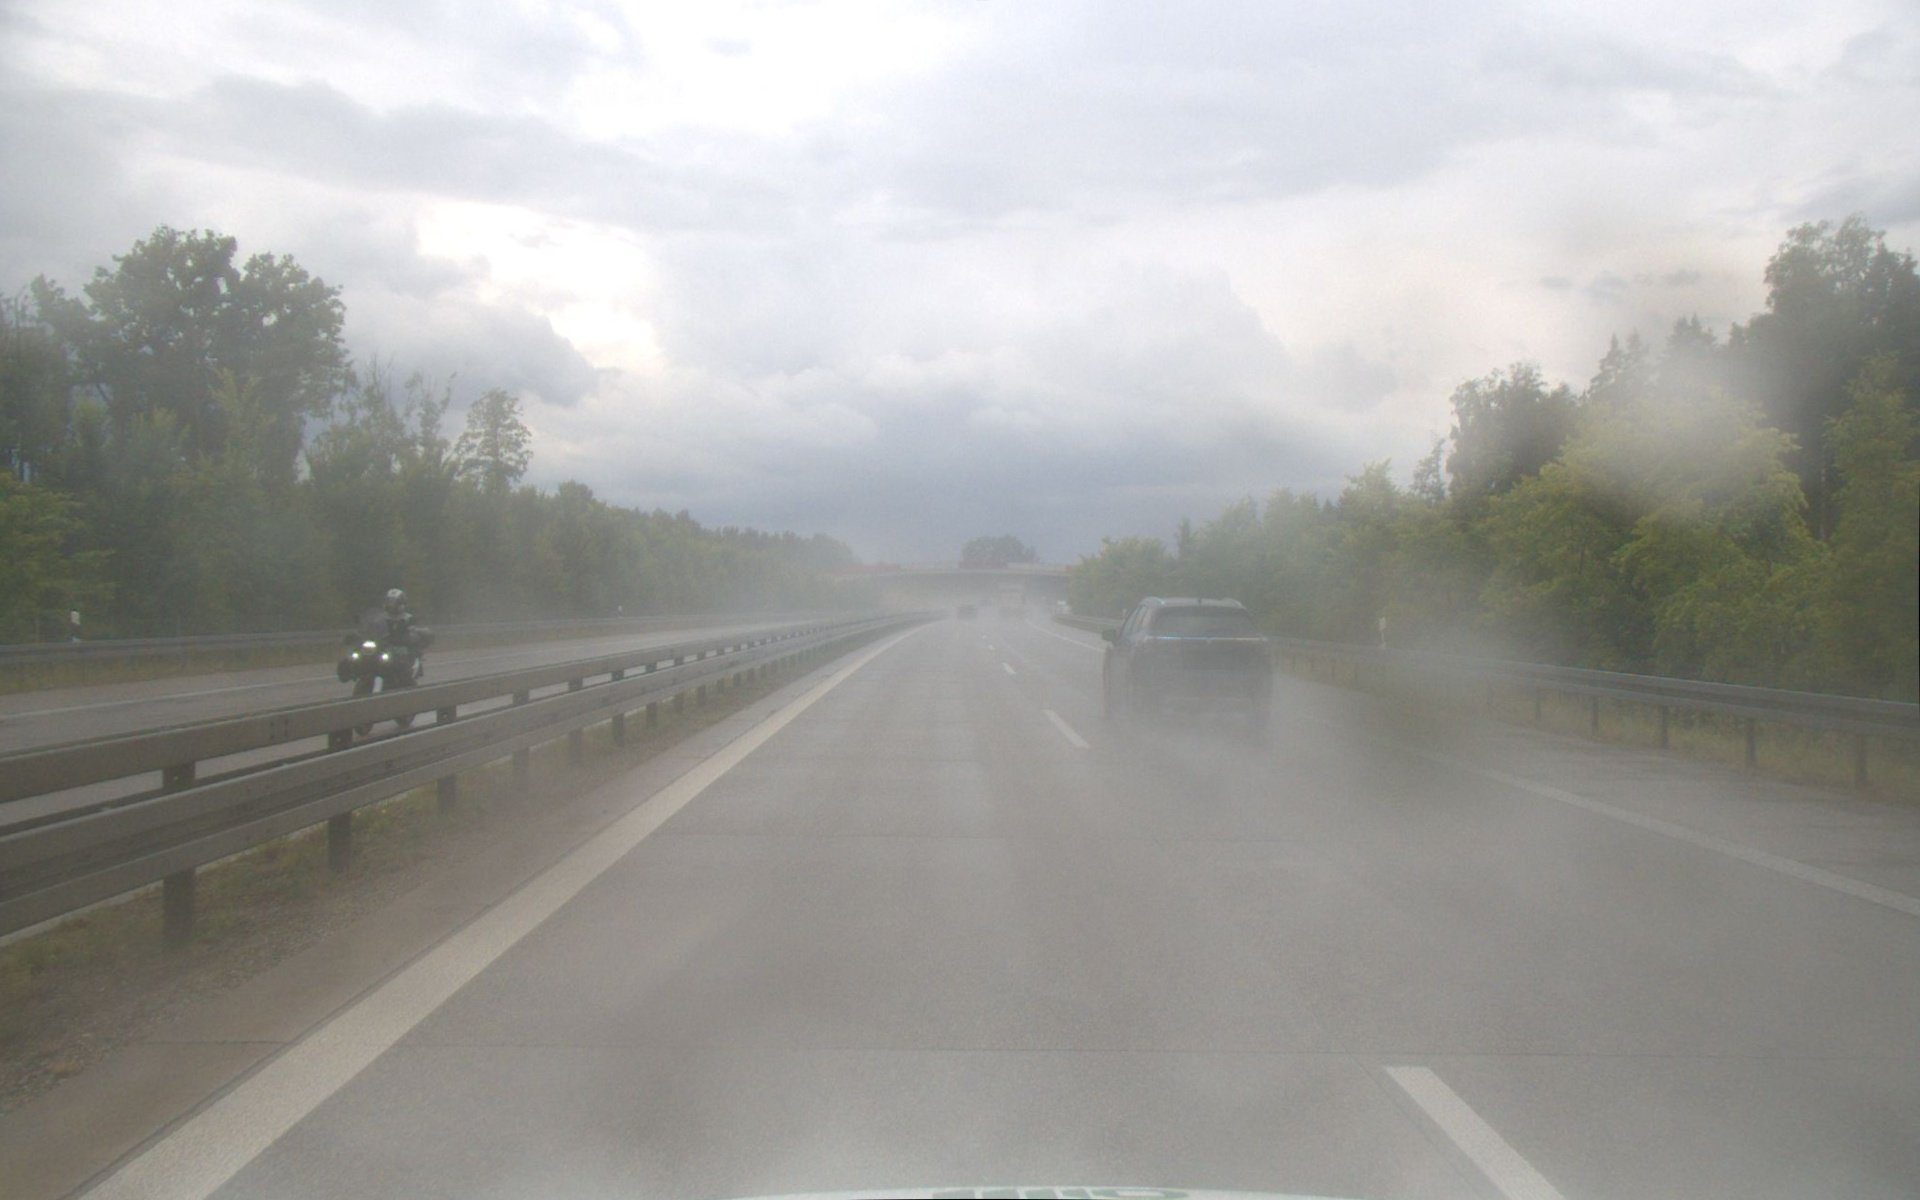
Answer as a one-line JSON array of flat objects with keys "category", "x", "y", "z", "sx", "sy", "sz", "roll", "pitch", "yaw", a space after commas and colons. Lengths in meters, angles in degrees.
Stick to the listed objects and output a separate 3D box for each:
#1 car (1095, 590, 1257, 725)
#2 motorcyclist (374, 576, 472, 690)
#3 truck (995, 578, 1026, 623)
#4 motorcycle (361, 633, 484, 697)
[{"category": "car", "x": 2.766, "y": 0.716, "z": 21.859, "sx": 1.854, "sy": 1.603, "sz": 3.633, "roll": 1, "pitch": -1, "yaw": 3}, {"category": "motorcyclist", "x": -7.116, "y": 0.430, "z": 21.972, "sx": 0.994, "sy": 1.457, "sz": 0.920, "roll": 2, "pitch": -1, "yaw": -3}, {"category": "truck", "x": 5.197, "y": 0.054, "z": 171.969, "sx": 3.176, "sy": 4.515, "sz": 8.246, "roll": 0, "pitch": 0, "yaw": 1}, {"category": "motorcycle", "x": -7.126, "y": 0.845, "z": 22.053, "sx": 1.001, "sy": 0.738, "sz": 2.278, "roll": 2, "pitch": 0, "yaw": -4}]
